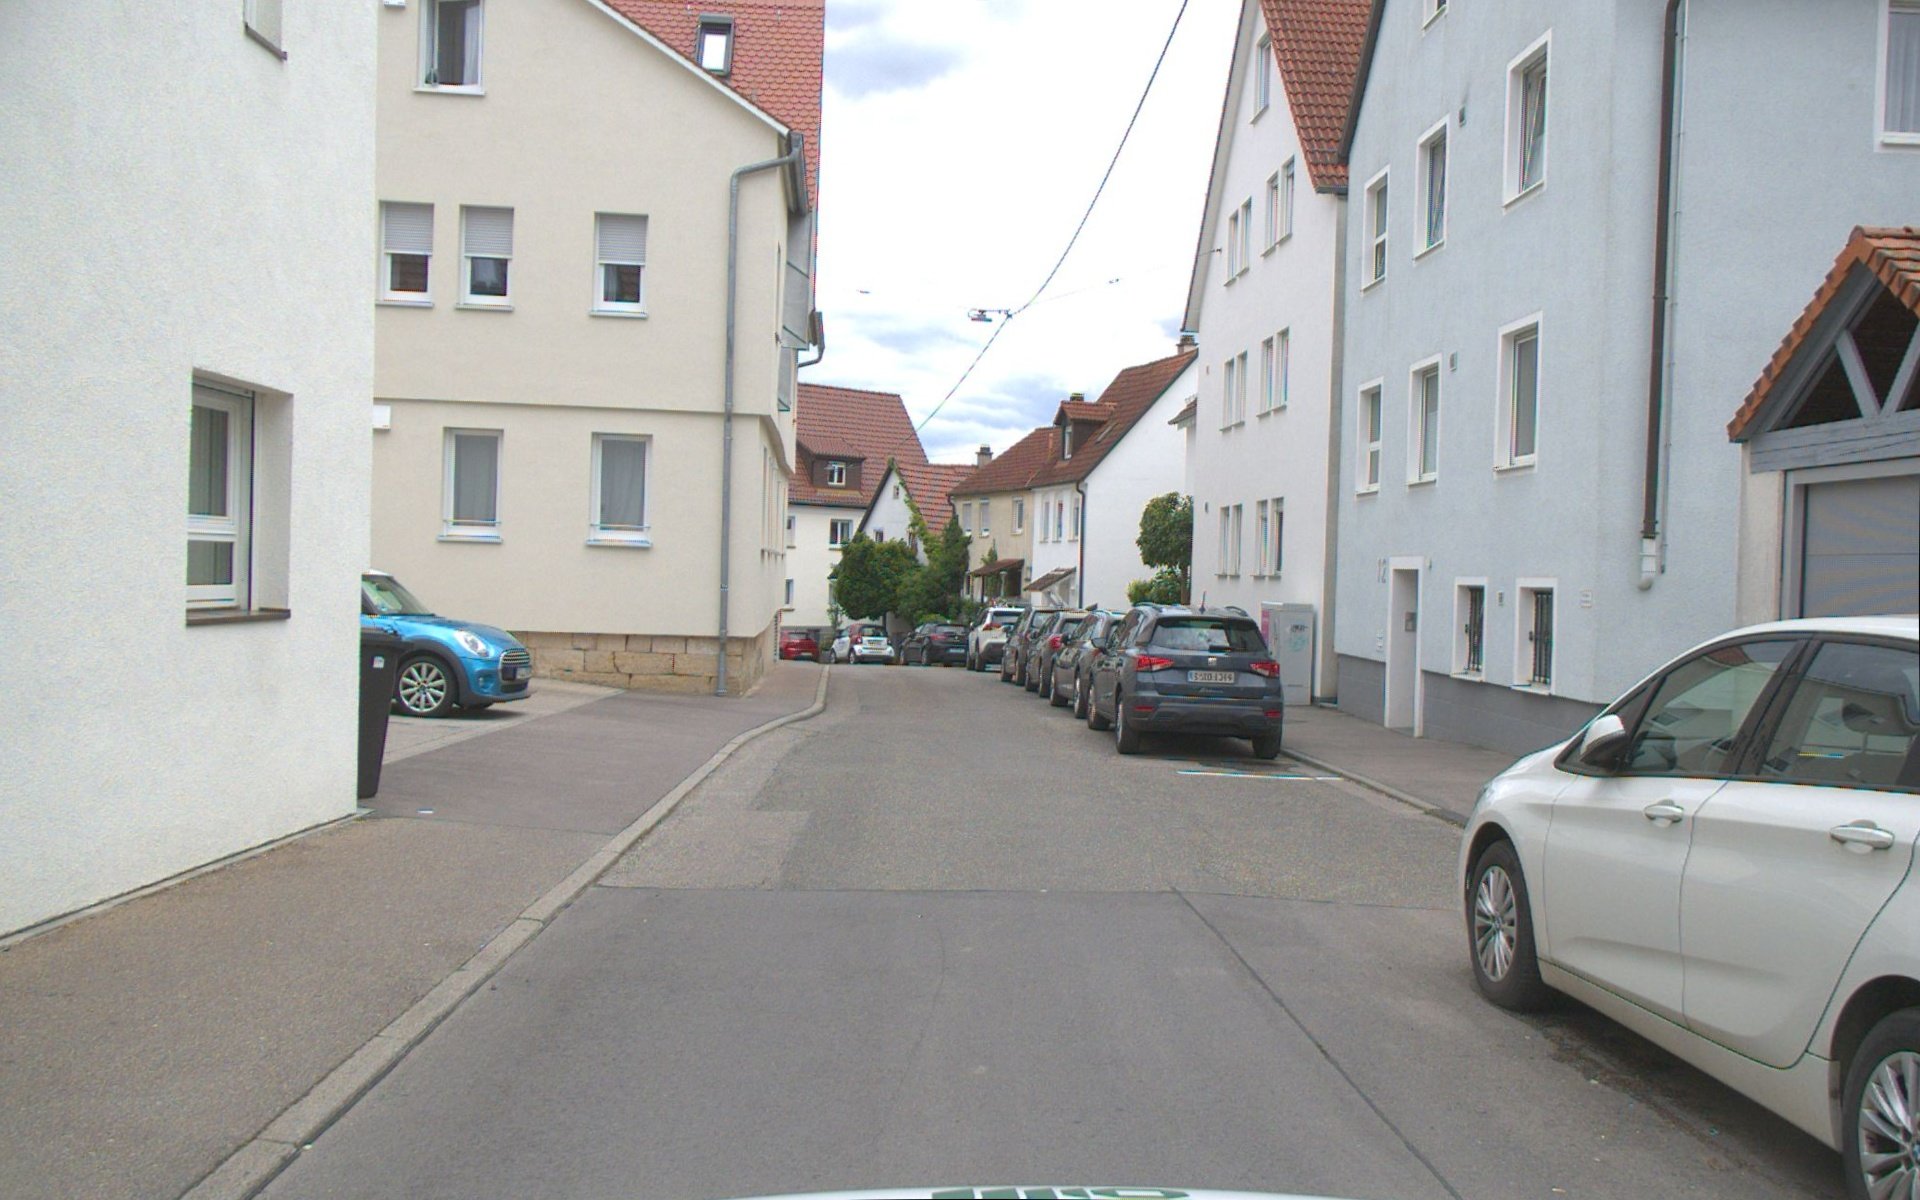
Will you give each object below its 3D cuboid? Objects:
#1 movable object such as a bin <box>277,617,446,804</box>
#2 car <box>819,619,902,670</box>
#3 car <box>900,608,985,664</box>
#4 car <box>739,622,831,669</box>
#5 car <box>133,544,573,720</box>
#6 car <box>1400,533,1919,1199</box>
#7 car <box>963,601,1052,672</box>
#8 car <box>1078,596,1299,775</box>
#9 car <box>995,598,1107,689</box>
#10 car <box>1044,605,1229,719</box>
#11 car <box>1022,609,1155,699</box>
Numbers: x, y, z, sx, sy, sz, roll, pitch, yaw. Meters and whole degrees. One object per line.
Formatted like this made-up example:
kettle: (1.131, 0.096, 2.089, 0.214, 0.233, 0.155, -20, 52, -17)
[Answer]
movable object such as a bin: (-3.783, 0.680, 10.494, 0.602, 1.094, 0.752, 4, 0, 20)
car: (-3.846, 1.679, 63.158, 1.935, 1.743, 3.973, 2, 0, -23)
car: (-0.620, 1.214, 54.414, 1.960, 1.743, 3.985, 1, -2, -14)
car: (-7.271, 1.890, 68.478, 1.979, 1.713, 3.947, -5, 0, -37)
car: (-6.167, 0.335, 17.180, 3.654, 1.436, 2.121, 4, -1, 2)
car: (3.095, 0.707, 5.308, 1.953, 1.643, 4.878, 3, 0, -1)
car: (1.209, 0.966, 43.764, 1.836, 1.743, 4.143, 2, -1, -5)
car: (2.397, 0.832, 18.460, 1.718, 1.656, 4.534, 3, 0, -1)
car: (1.798, 0.864, 33.729, 1.702, 1.638, 3.996, 4, -1, -4)
car: (2.347, 0.793, 23.186, 1.880, 1.434, 4.653, 0, 0, -3)
car: (2.125, 0.897, 28.350, 1.761, 1.376, 4.072, 2, -1, -2)
